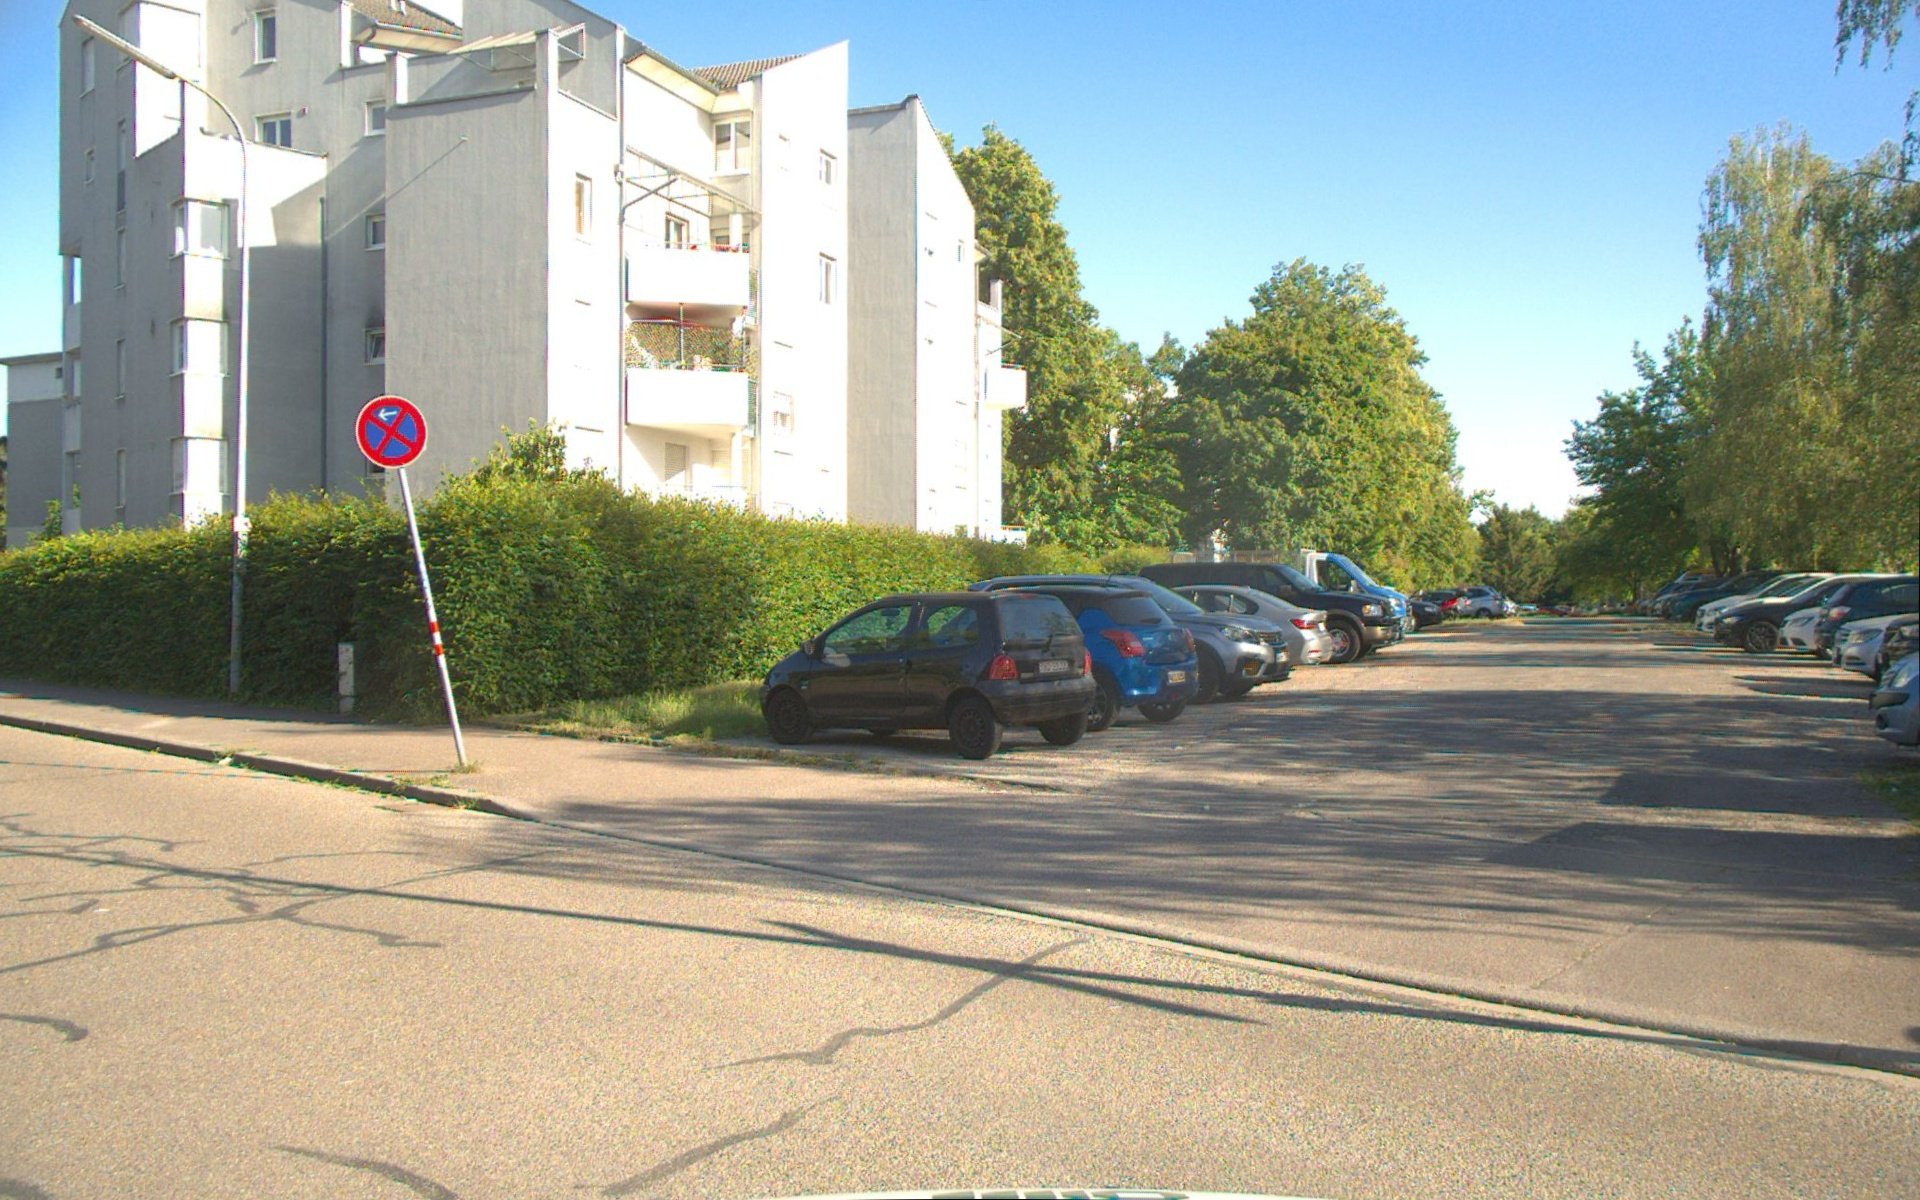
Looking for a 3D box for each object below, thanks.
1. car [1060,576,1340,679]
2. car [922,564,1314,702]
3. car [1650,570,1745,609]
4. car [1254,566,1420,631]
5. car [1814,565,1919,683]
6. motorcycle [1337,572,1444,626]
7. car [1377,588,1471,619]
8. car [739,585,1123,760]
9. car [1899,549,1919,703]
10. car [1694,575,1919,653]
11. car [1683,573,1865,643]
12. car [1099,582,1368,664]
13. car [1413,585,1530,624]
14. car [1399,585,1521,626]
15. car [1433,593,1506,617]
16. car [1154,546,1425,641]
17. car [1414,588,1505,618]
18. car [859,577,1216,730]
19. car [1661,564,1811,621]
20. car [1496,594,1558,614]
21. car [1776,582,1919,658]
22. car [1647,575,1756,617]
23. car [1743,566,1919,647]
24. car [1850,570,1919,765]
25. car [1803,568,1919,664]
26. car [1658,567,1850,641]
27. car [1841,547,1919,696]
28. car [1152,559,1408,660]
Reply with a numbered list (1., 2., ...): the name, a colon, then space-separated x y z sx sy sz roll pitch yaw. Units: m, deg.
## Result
1. car: 3.743 0.430 25.728 4.057 1.480 1.620 -1 0 20
2. car: 2.064 0.427 22.090 4.895 1.683 1.782 -1 0 28
3. car: 33.424 -0.487 74.979 3.908 1.738 1.796 1 0 25
4. car: 10.913 -0.040 47.851 4.430 1.802 1.847 0 0 23
5. car: 13.941 0.314 22.297 4.017 1.525 1.792 1 2 15
6. motorcycle: 13.359 -0.034 51.367 3.126 1.624 0.923 0 0 23
7. car: 20.605 0.157 73.479 3.859 1.357 1.847 0 0 21
8. car: -0.331 0.611 16.048 3.466 1.492 1.696 0 1 39
9. car: 12.045 0.297 16.859 3.967 1.631 1.792 1 2 16
10. car: 16.494 0.255 32.308 3.908 1.425 1.796 1 0 25
11. car: 19.855 0.179 40.480 3.908 1.613 1.796 1 0 25
12. car: 4.804 0.377 29.099 4.362 1.358 1.846 0 0 24
13. car: 18.242 0.142 58.973 3.859 1.357 1.847 0 0 21
14. car: 17.035 0.192 56.355 3.859 1.357 1.847 0 0 21
15. car: 29.152 0.282 94.679 3.859 1.357 1.847 0 0 21
16. car: 7.985 -0.154 40.046 6.126 2.184 2.411 0 0 20
17. car: 22.961 0.128 76.040 3.859 1.357 1.847 0 0 21
18. car: 0.821 0.548 18.270 3.616 1.522 1.646 -1 0 35
19. car: 22.719 -0.233 48.505 3.908 1.613 1.796 1 0 25
20. car: 35.109 0.250 102.448 3.569 1.234 1.847 0 0 21
21. car: 16.797 0.359 29.603 3.910 1.300 1.795 1 0 27
22. car: 29.589 -0.184 66.024 3.908 1.613 1.796 1 0 25
23. car: 18.582 0.127 34.639 3.908 1.613 1.796 1 0 25
24. car: 8.926 0.539 12.219 3.983 1.464 1.629 1 1 35
25. car: 16.041 0.265 27.146 3.910 1.529 1.946 1 0 27
26. car: 18.304 0.073 38.263 3.908 1.613 1.796 1 0 25
27. car: 12.916 0.234 19.633 4.017 1.735 1.792 1 2 15
28. car: 6.051 0.162 31.315 4.434 1.802 1.845 0 0 27
